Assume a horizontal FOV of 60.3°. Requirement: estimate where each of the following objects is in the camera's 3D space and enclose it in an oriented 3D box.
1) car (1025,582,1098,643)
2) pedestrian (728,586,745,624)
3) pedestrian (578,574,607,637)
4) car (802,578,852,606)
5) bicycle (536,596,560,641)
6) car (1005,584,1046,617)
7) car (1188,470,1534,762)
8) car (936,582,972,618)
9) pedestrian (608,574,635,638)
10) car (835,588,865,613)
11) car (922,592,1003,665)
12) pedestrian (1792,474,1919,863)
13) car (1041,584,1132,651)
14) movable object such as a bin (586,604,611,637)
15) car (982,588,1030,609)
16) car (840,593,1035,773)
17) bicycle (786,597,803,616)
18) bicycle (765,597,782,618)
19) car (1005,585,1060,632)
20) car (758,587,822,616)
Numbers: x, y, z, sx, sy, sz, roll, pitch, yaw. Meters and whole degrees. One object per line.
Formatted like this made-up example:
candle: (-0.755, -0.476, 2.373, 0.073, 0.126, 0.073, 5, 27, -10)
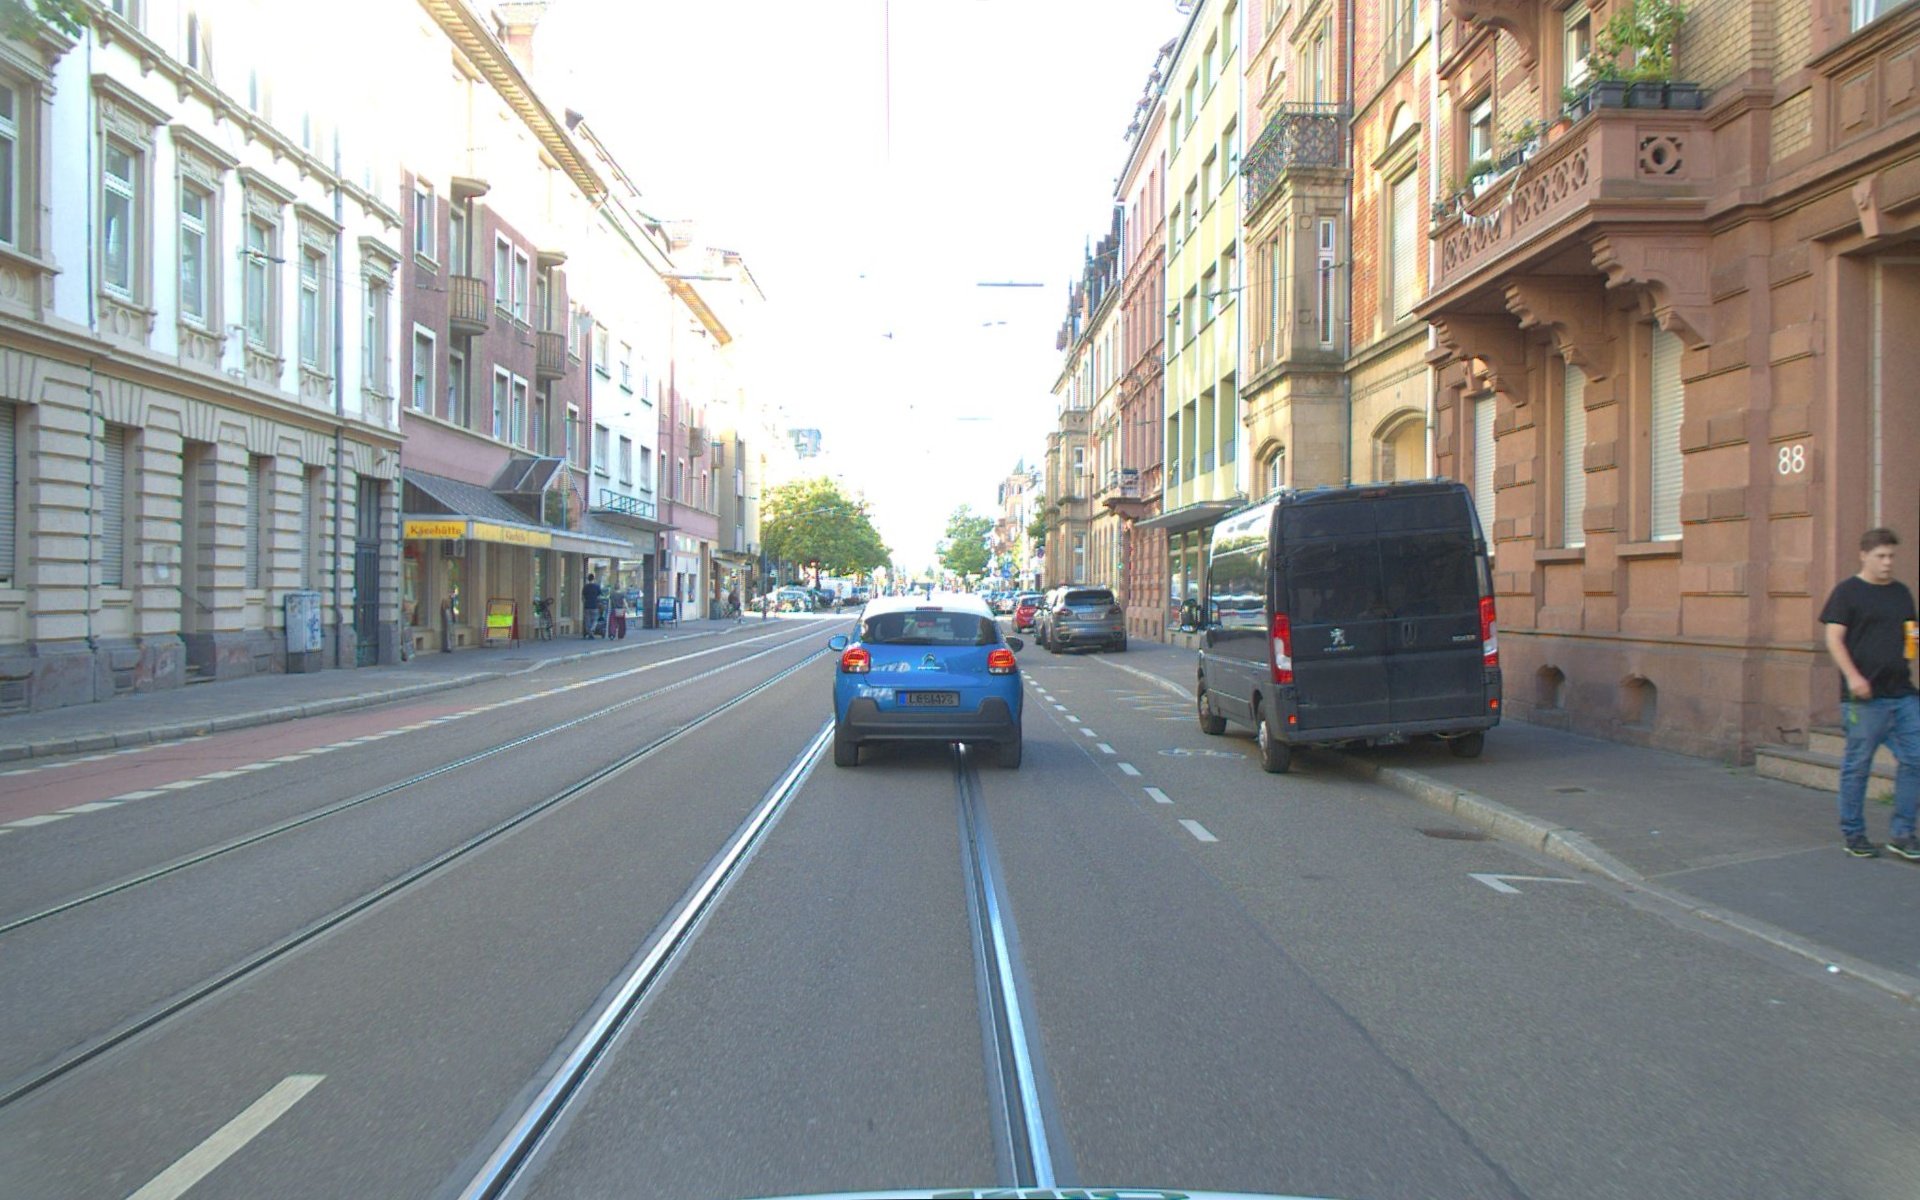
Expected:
car: (3.054, 0.354, 50.476, 1.867, 1.788, 3.998, 0, 0, -2)
pedestrian: (-10.000, 0.223, 73.936, 0.671, 1.667, 0.674, 0, 0, -2)
pedestrian: (-10.451, 0.149, 47.033, 0.696, 1.795, 0.570, 0, 0, -3)
car: (-12.601, -0.801, 157.022, 4.257, 2.626, 2.190, 0, 0, -27)
bicycle: (-11.169, 0.492, 44.862, 0.610, 1.180, 2.057, 0, 0, -14)
car: (3.663, 0.020, 92.834, 1.965, 1.701, 4.390, -3, 0, -1)
car: (3.827, 0.125, 17.028, 2.225, 2.479, 5.720, 1, 0, 1)
car: (-0.357, -0.034, 96.619, 1.953, 2.049, 3.998, 0, 0, -2)
pedestrian: (-9.662, 0.169, 47.227, 0.697, 1.795, 0.653, 0, 0, -10)
car: (-7.517, 0.009, 113.532, 1.953, 1.680, 3.998, 0, 0, -2)
car: (-0.003, 0.581, 36.523, 1.633, 1.504, 3.998, 0, 0, -2)
pedestrian: (5.098, 0.360, 9.132, 0.573, 2.049, 0.823, 0, 0, -2)
car: (3.316, 0.422, 44.261, 1.965, 1.701, 4.804, 0, 0, -1)
movable object such as a bin: (-10.423, 0.583, 47.702, 0.598, 0.930, 0.695, 0, 0, -1)
car: (3.727, -0.118, 133.852, 3.760, 1.646, 1.790, 0, 0, -4)
car: (-0.277, 0.689, 15.906, 1.640, 1.503, 3.998, 0, 0, -3)
bicycle: (-10.841, 0.409, 108.270, 1.099, 1.166, 3.639, 0, 0, -7)
bicycle: (-12.208, 0.486, 108.195, 1.099, 1.342, 3.639, 0, 0, -7)
car: (2.957, 0.318, 68.435, 1.965, 1.701, 4.391, 1, 2, -1)
car: (-11.875, 0.104, 115.523, 4.219, 2.052, 2.210, 0, 0, 0)
